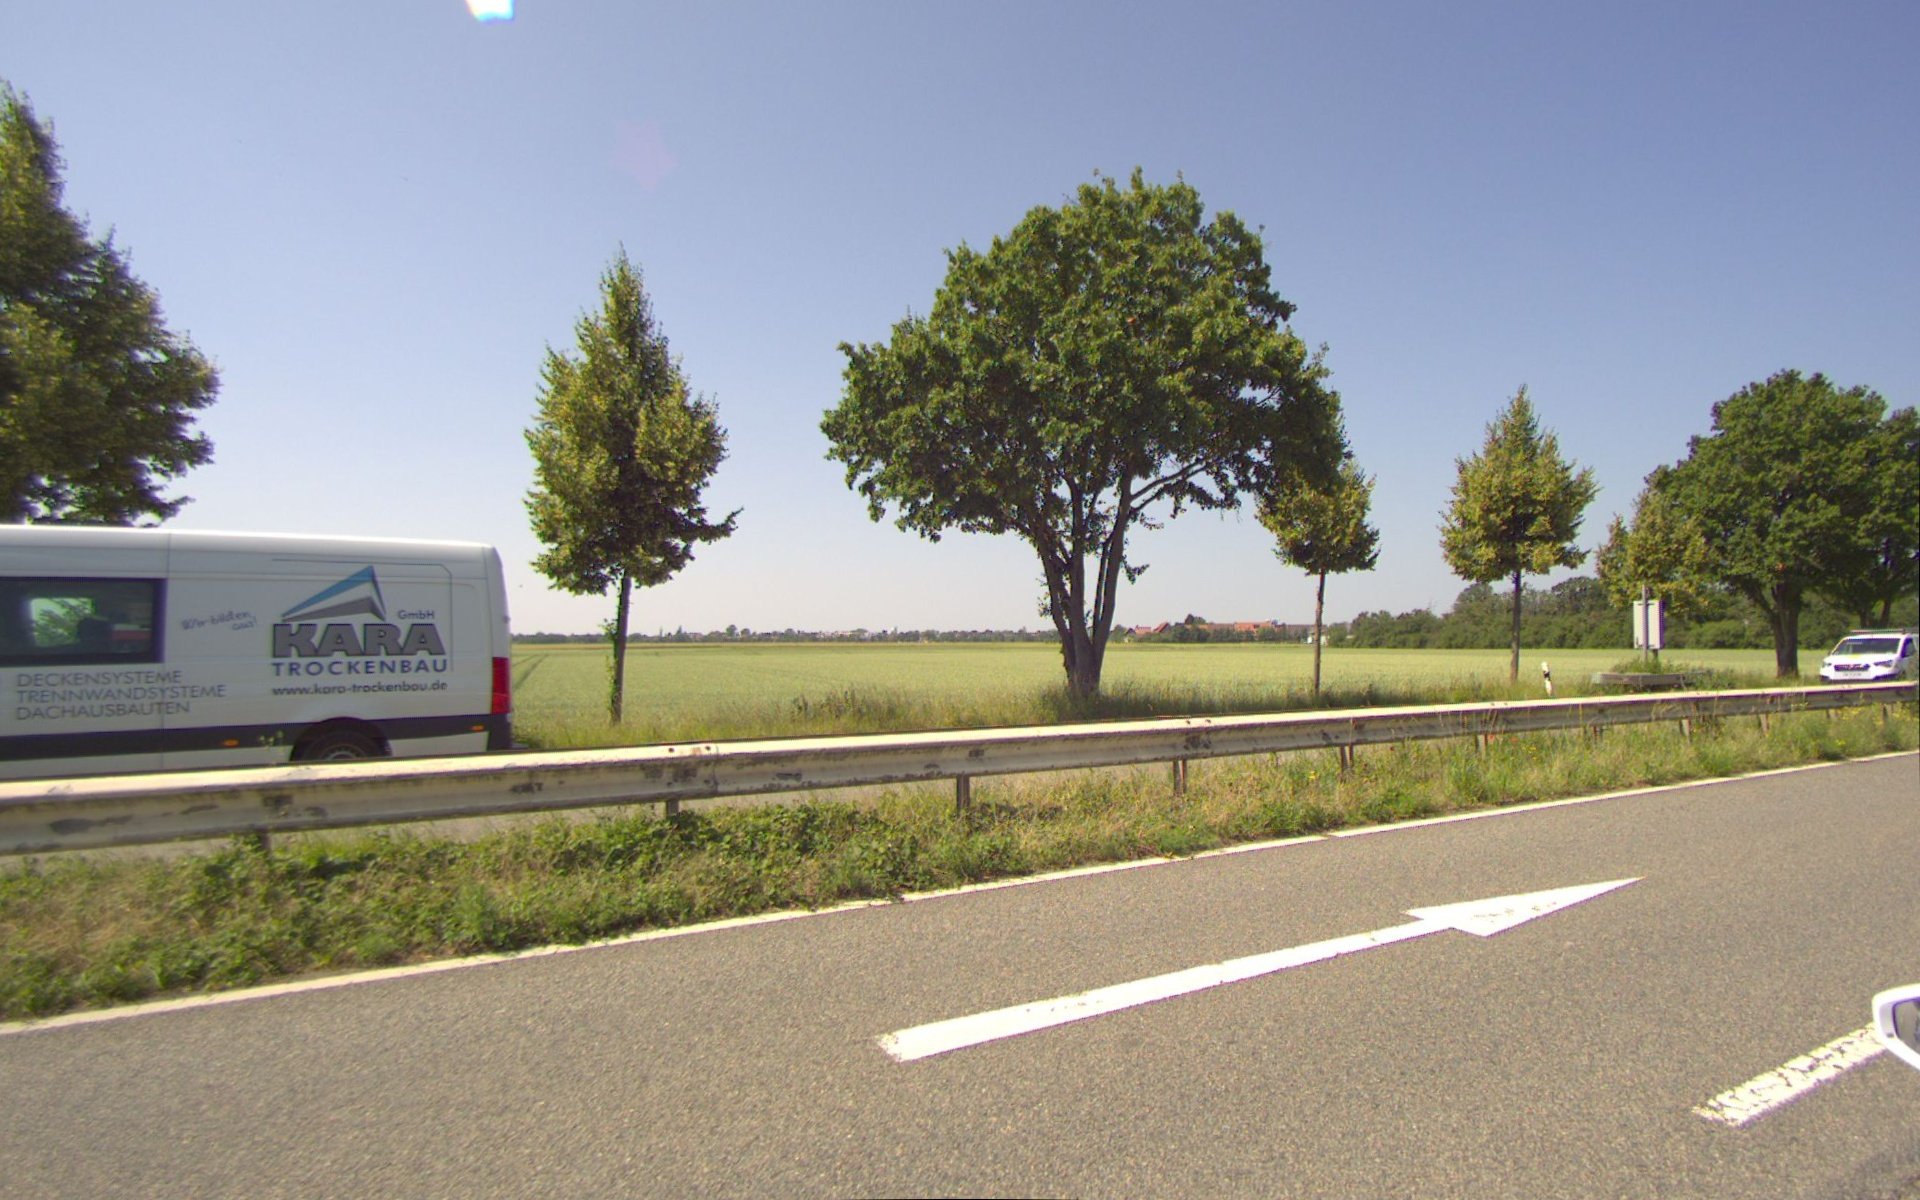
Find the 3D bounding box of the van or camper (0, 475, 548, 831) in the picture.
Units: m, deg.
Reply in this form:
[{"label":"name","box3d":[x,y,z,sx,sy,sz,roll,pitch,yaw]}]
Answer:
[{"label":"van or camper","box3d":[-7.963,0.498,9.858,7.007,2.987,2.375,1,-2,-30]}]

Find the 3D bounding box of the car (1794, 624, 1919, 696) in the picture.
[{"label":"car","box3d":[27.585,1.790,30.400,4.475,2.040,2.030,1,-2,-28]}]
